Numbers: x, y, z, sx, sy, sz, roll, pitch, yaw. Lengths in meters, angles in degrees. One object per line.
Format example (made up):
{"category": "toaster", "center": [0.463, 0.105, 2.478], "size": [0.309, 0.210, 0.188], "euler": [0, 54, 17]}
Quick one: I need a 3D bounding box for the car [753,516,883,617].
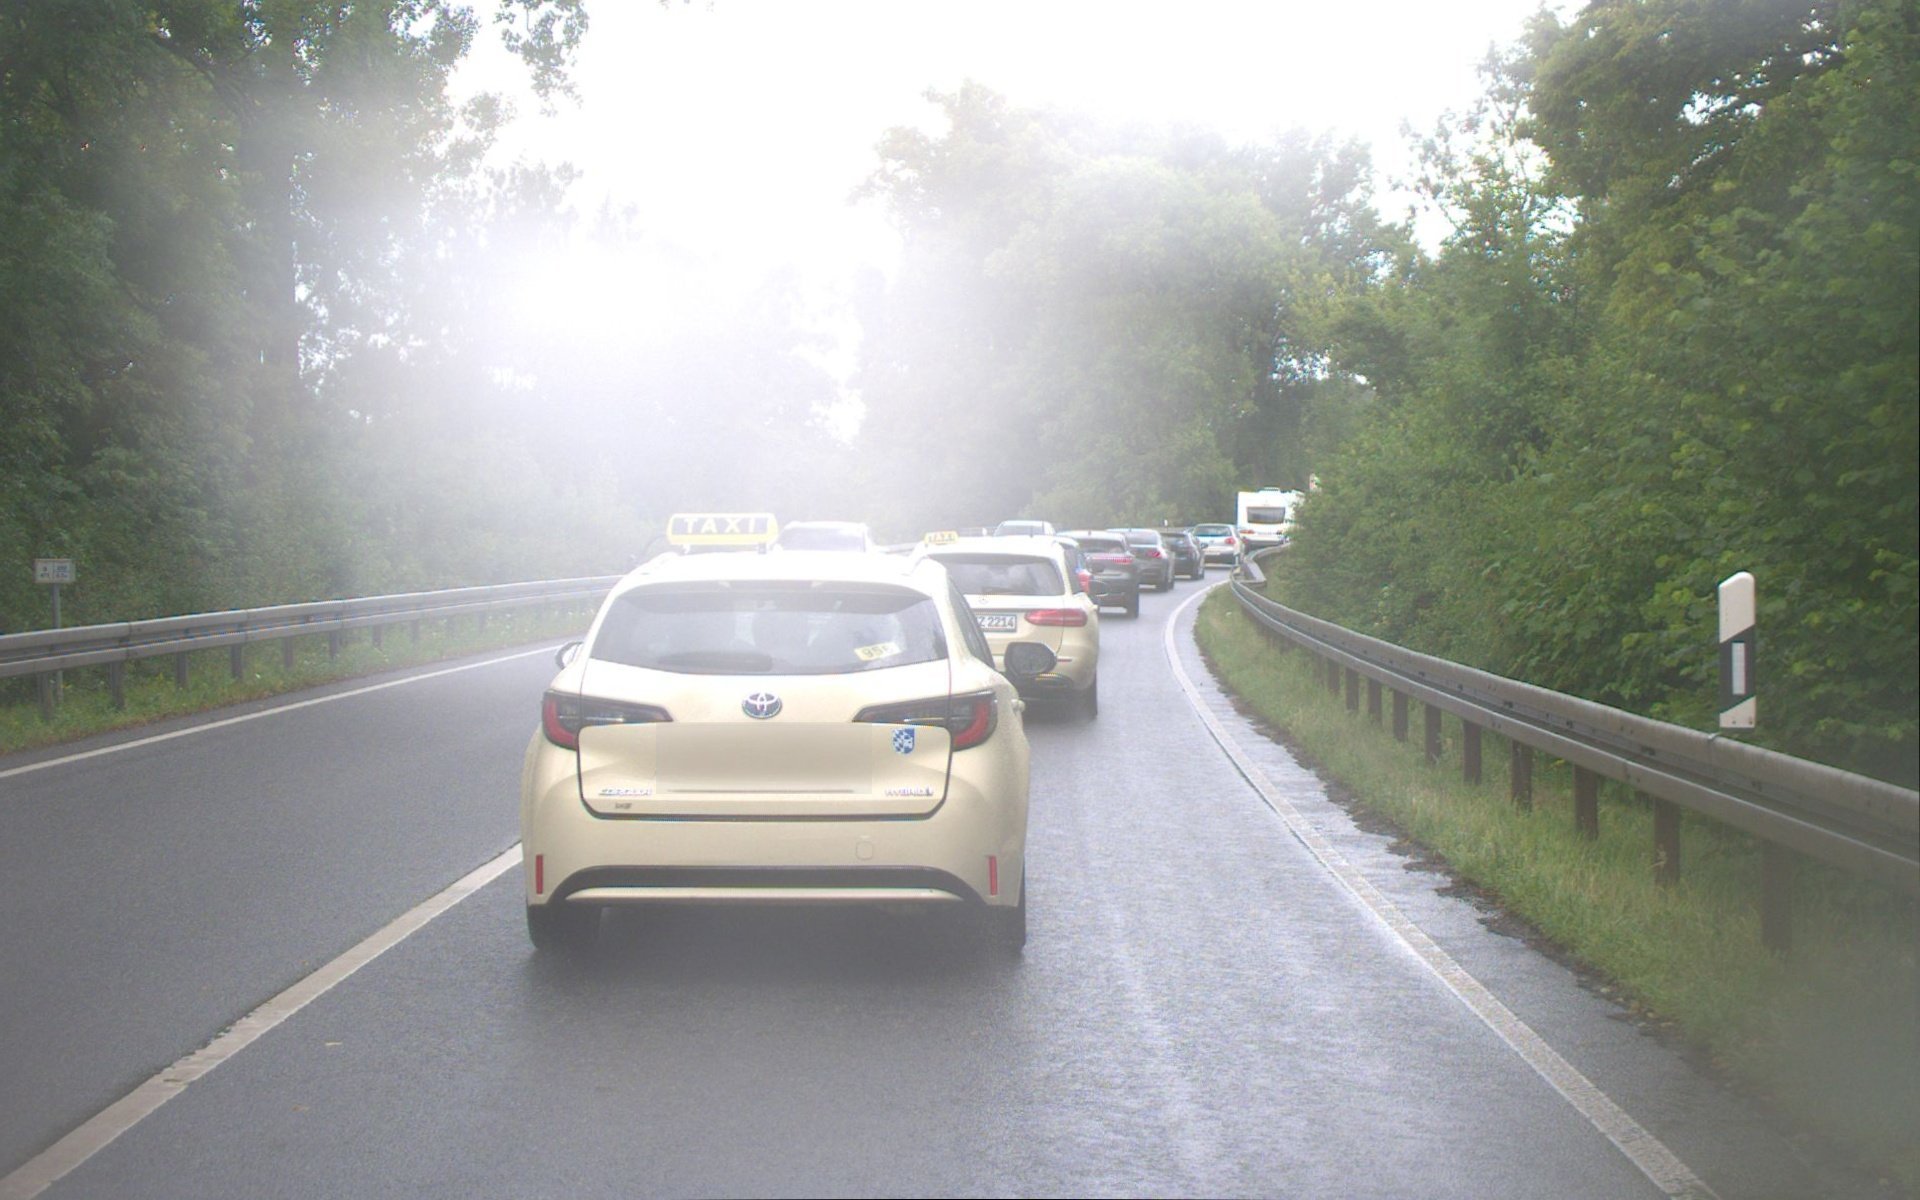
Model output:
{"category": "car", "center": [-2.198, -0.552, 54.067], "size": [1.807, 1.527, 4.206], "euler": [0, 1, 1]}

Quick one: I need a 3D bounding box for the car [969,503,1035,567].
{"category": "car", "center": [1.385, -2.114, 112.733], "size": [1.994, 2.007, 4.000], "euler": [1, 0, 3]}

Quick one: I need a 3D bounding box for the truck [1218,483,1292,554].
{"category": "truck", "center": [11.899, -3.250, 139.120], "size": [2.550, 2.704, 7.535], "euler": [1, 0, 2]}

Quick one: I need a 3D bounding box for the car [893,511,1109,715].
{"category": "car", "center": [0.399, 0.089, 28.824], "size": [1.667, 1.575, 3.892], "euler": [1, 0, 2]}

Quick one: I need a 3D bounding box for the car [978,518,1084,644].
{"category": "car", "center": [0.899, -0.241, 44.181], "size": [1.300, 1.541, 3.260], "euler": [1, 0, 1]}

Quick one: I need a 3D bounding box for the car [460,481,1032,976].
{"category": "car", "center": [-0.652, 0.401, 13.197], "size": [1.834, 1.575, 4.156], "euler": [1, 0, 1]}

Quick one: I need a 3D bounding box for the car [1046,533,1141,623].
{"category": "car", "center": [2.342, -0.372, 60.711], "size": [1.611, 1.541, 3.813], "euler": [0, 0, 2]}

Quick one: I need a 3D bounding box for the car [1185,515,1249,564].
{"category": "car", "center": [8.509, -1.998, 113.558], "size": [1.770, 1.541, 3.812], "euler": [1, 0, 9]}

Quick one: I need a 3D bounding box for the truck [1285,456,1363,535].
{"category": "truck", "center": [17.939, -5.112, 169.186], "size": [3.109, 3.668, 6.996], "euler": [1, 0, 12]}

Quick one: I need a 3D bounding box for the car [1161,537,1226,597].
{"category": "car", "center": [6.434, -0.906, 94.447], "size": [1.616, 1.607, 3.620], "euler": [1, 0, 6]}

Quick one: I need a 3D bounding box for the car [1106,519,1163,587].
{"category": "car", "center": [4.079, -1.090, 80.166], "size": [1.167, 1.541, 2.603], "euler": [1, 0, 6]}
